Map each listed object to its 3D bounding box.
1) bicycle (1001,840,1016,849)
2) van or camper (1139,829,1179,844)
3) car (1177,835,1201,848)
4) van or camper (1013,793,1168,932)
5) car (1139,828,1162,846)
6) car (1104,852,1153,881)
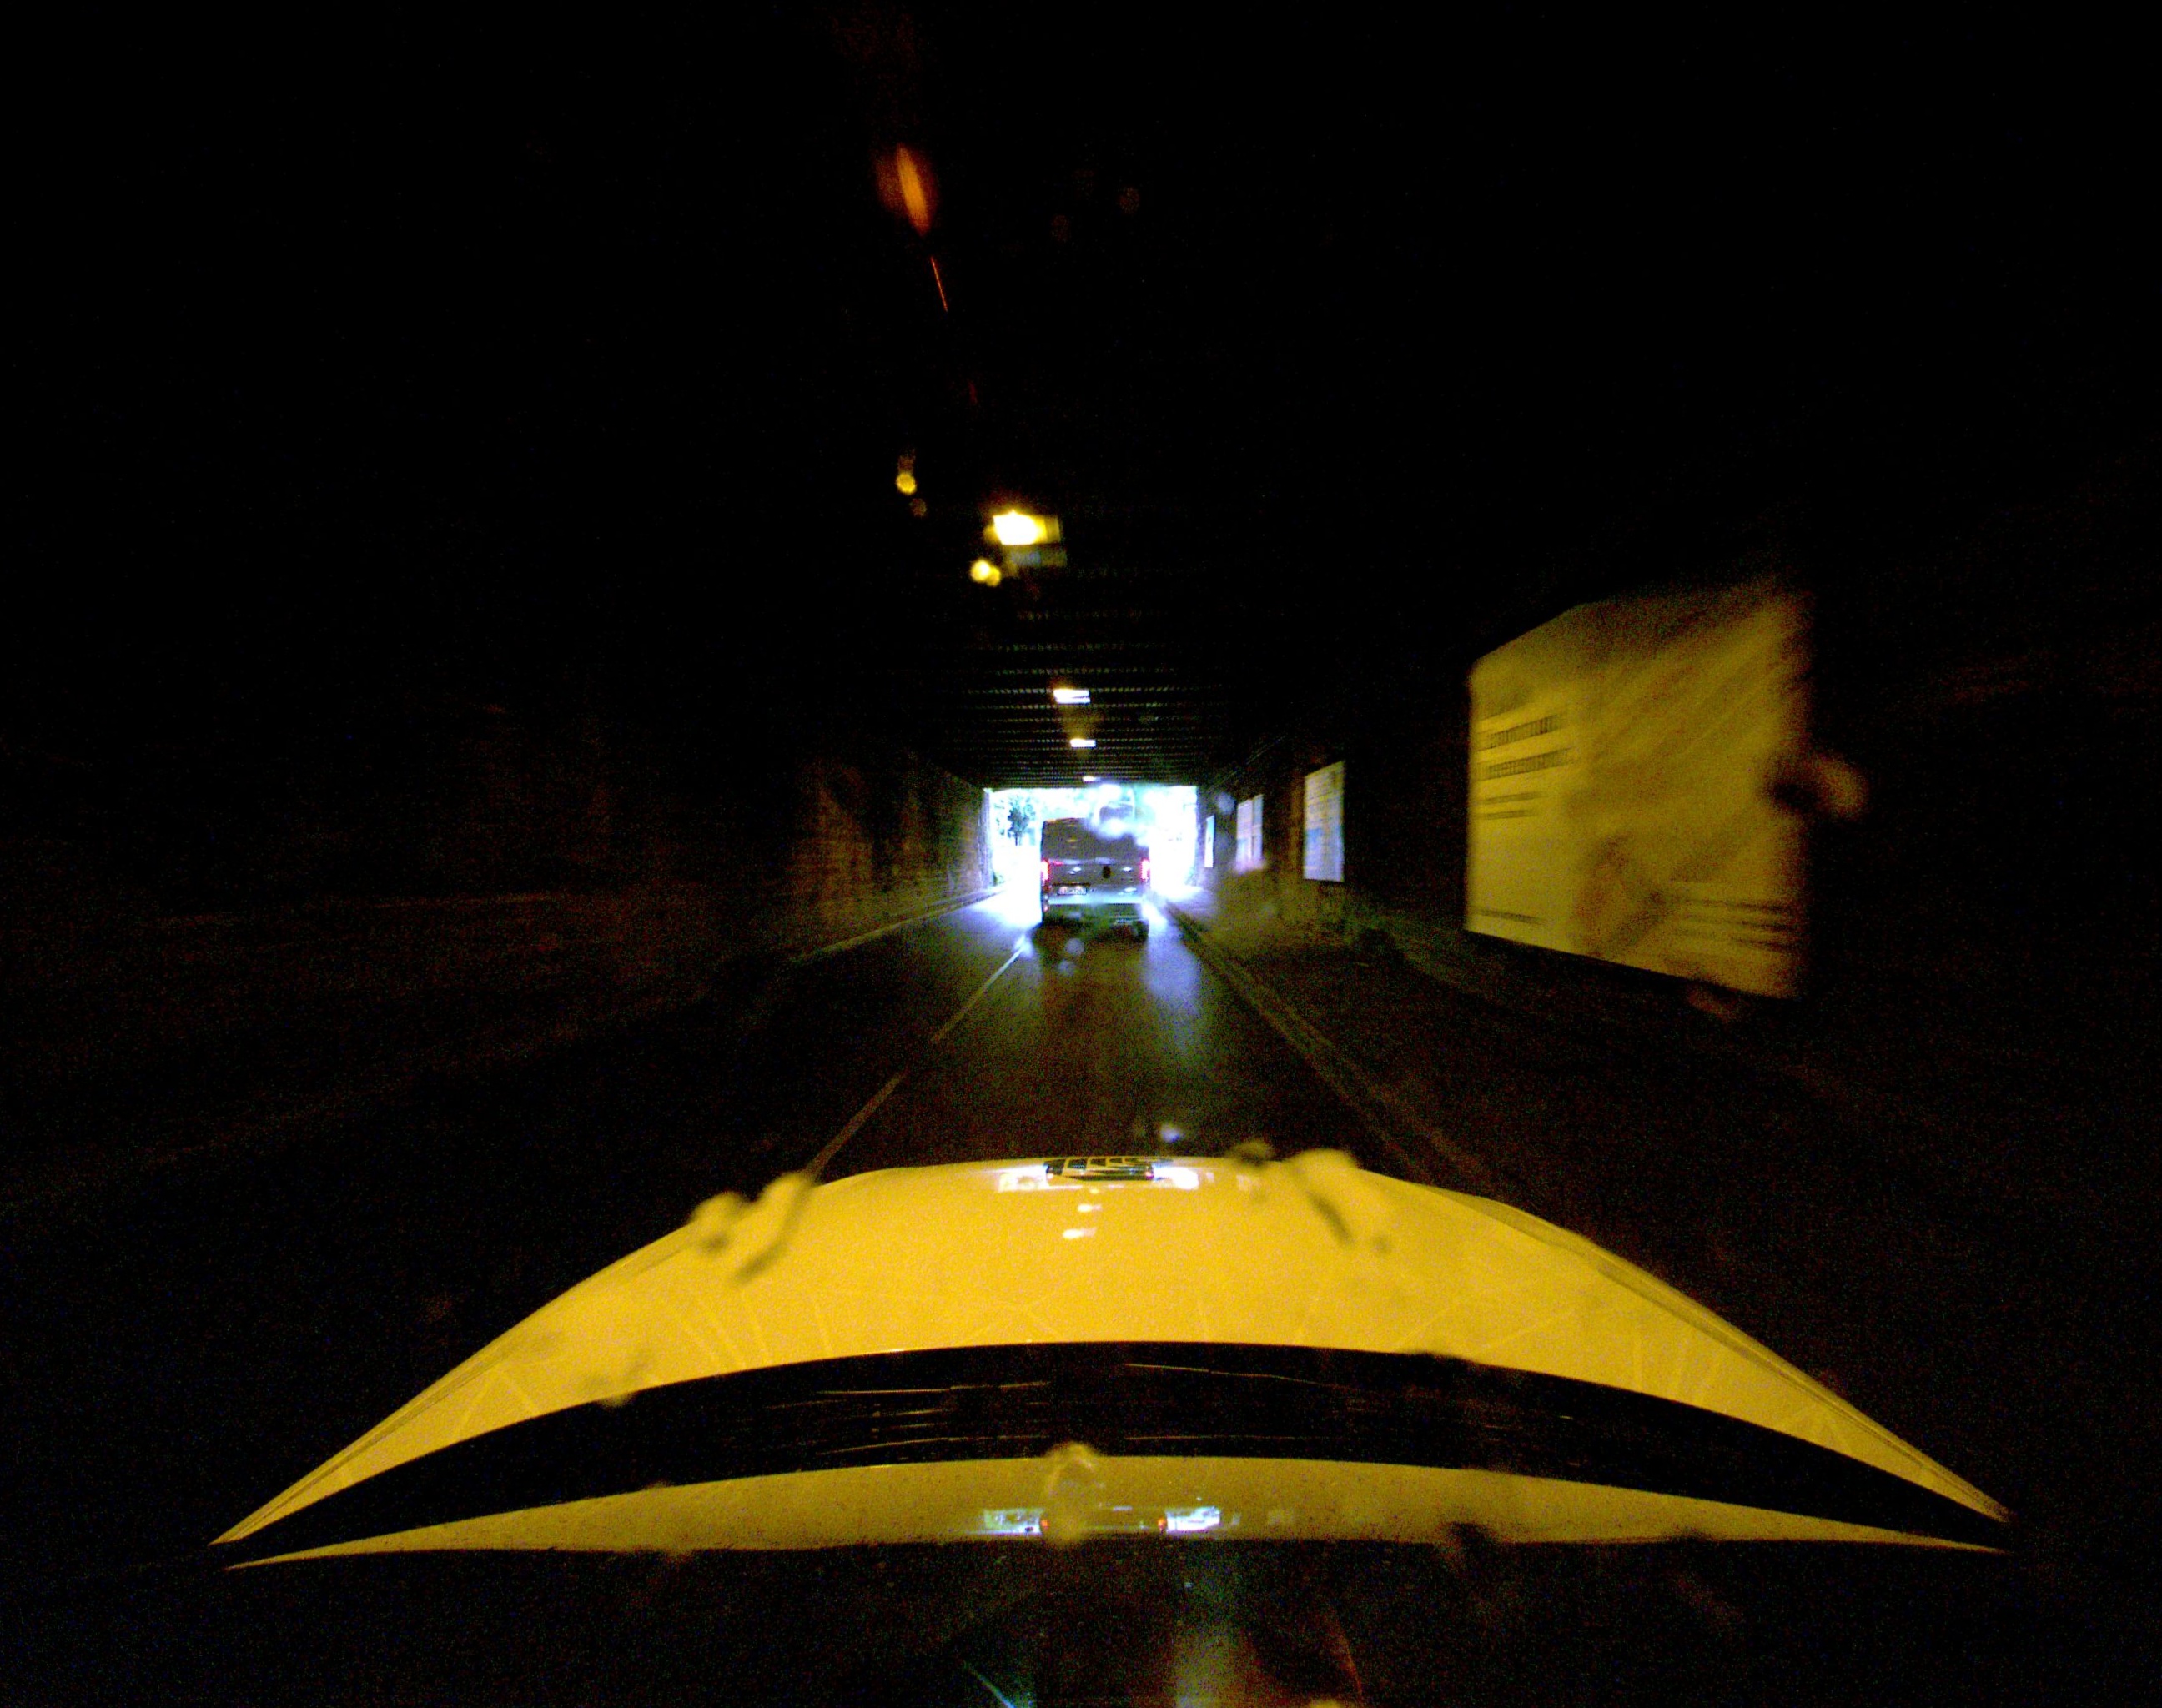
[{"bbox_3d":[-9.364,-1.202,104.831,0.919,1.128,2.303,0,0,23],"label":"bicycle"},{"bbox_3d":[10.719,-2.446,111.813,5.279,2.013,2.082,0,0,7],"label":"van or camper"},{"bbox_3d":[12.316,-1.402,93.264,1.990,1.486,3.994,0,0,-5],"label":"car"},{"bbox_3d":[0.191,0.218,16.673,2.689,2.417,4.902,0,-2,0],"label":"van or camper"},{"bbox_3d":[7.910,-1.903,92.704,1.990,1.947,3.994,0,0,-5],"label":"car"},{"bbox_3d":[2.541,0.623,42.679,1.823,1.438,4.118,-1,-1,14],"label":"car"}]
